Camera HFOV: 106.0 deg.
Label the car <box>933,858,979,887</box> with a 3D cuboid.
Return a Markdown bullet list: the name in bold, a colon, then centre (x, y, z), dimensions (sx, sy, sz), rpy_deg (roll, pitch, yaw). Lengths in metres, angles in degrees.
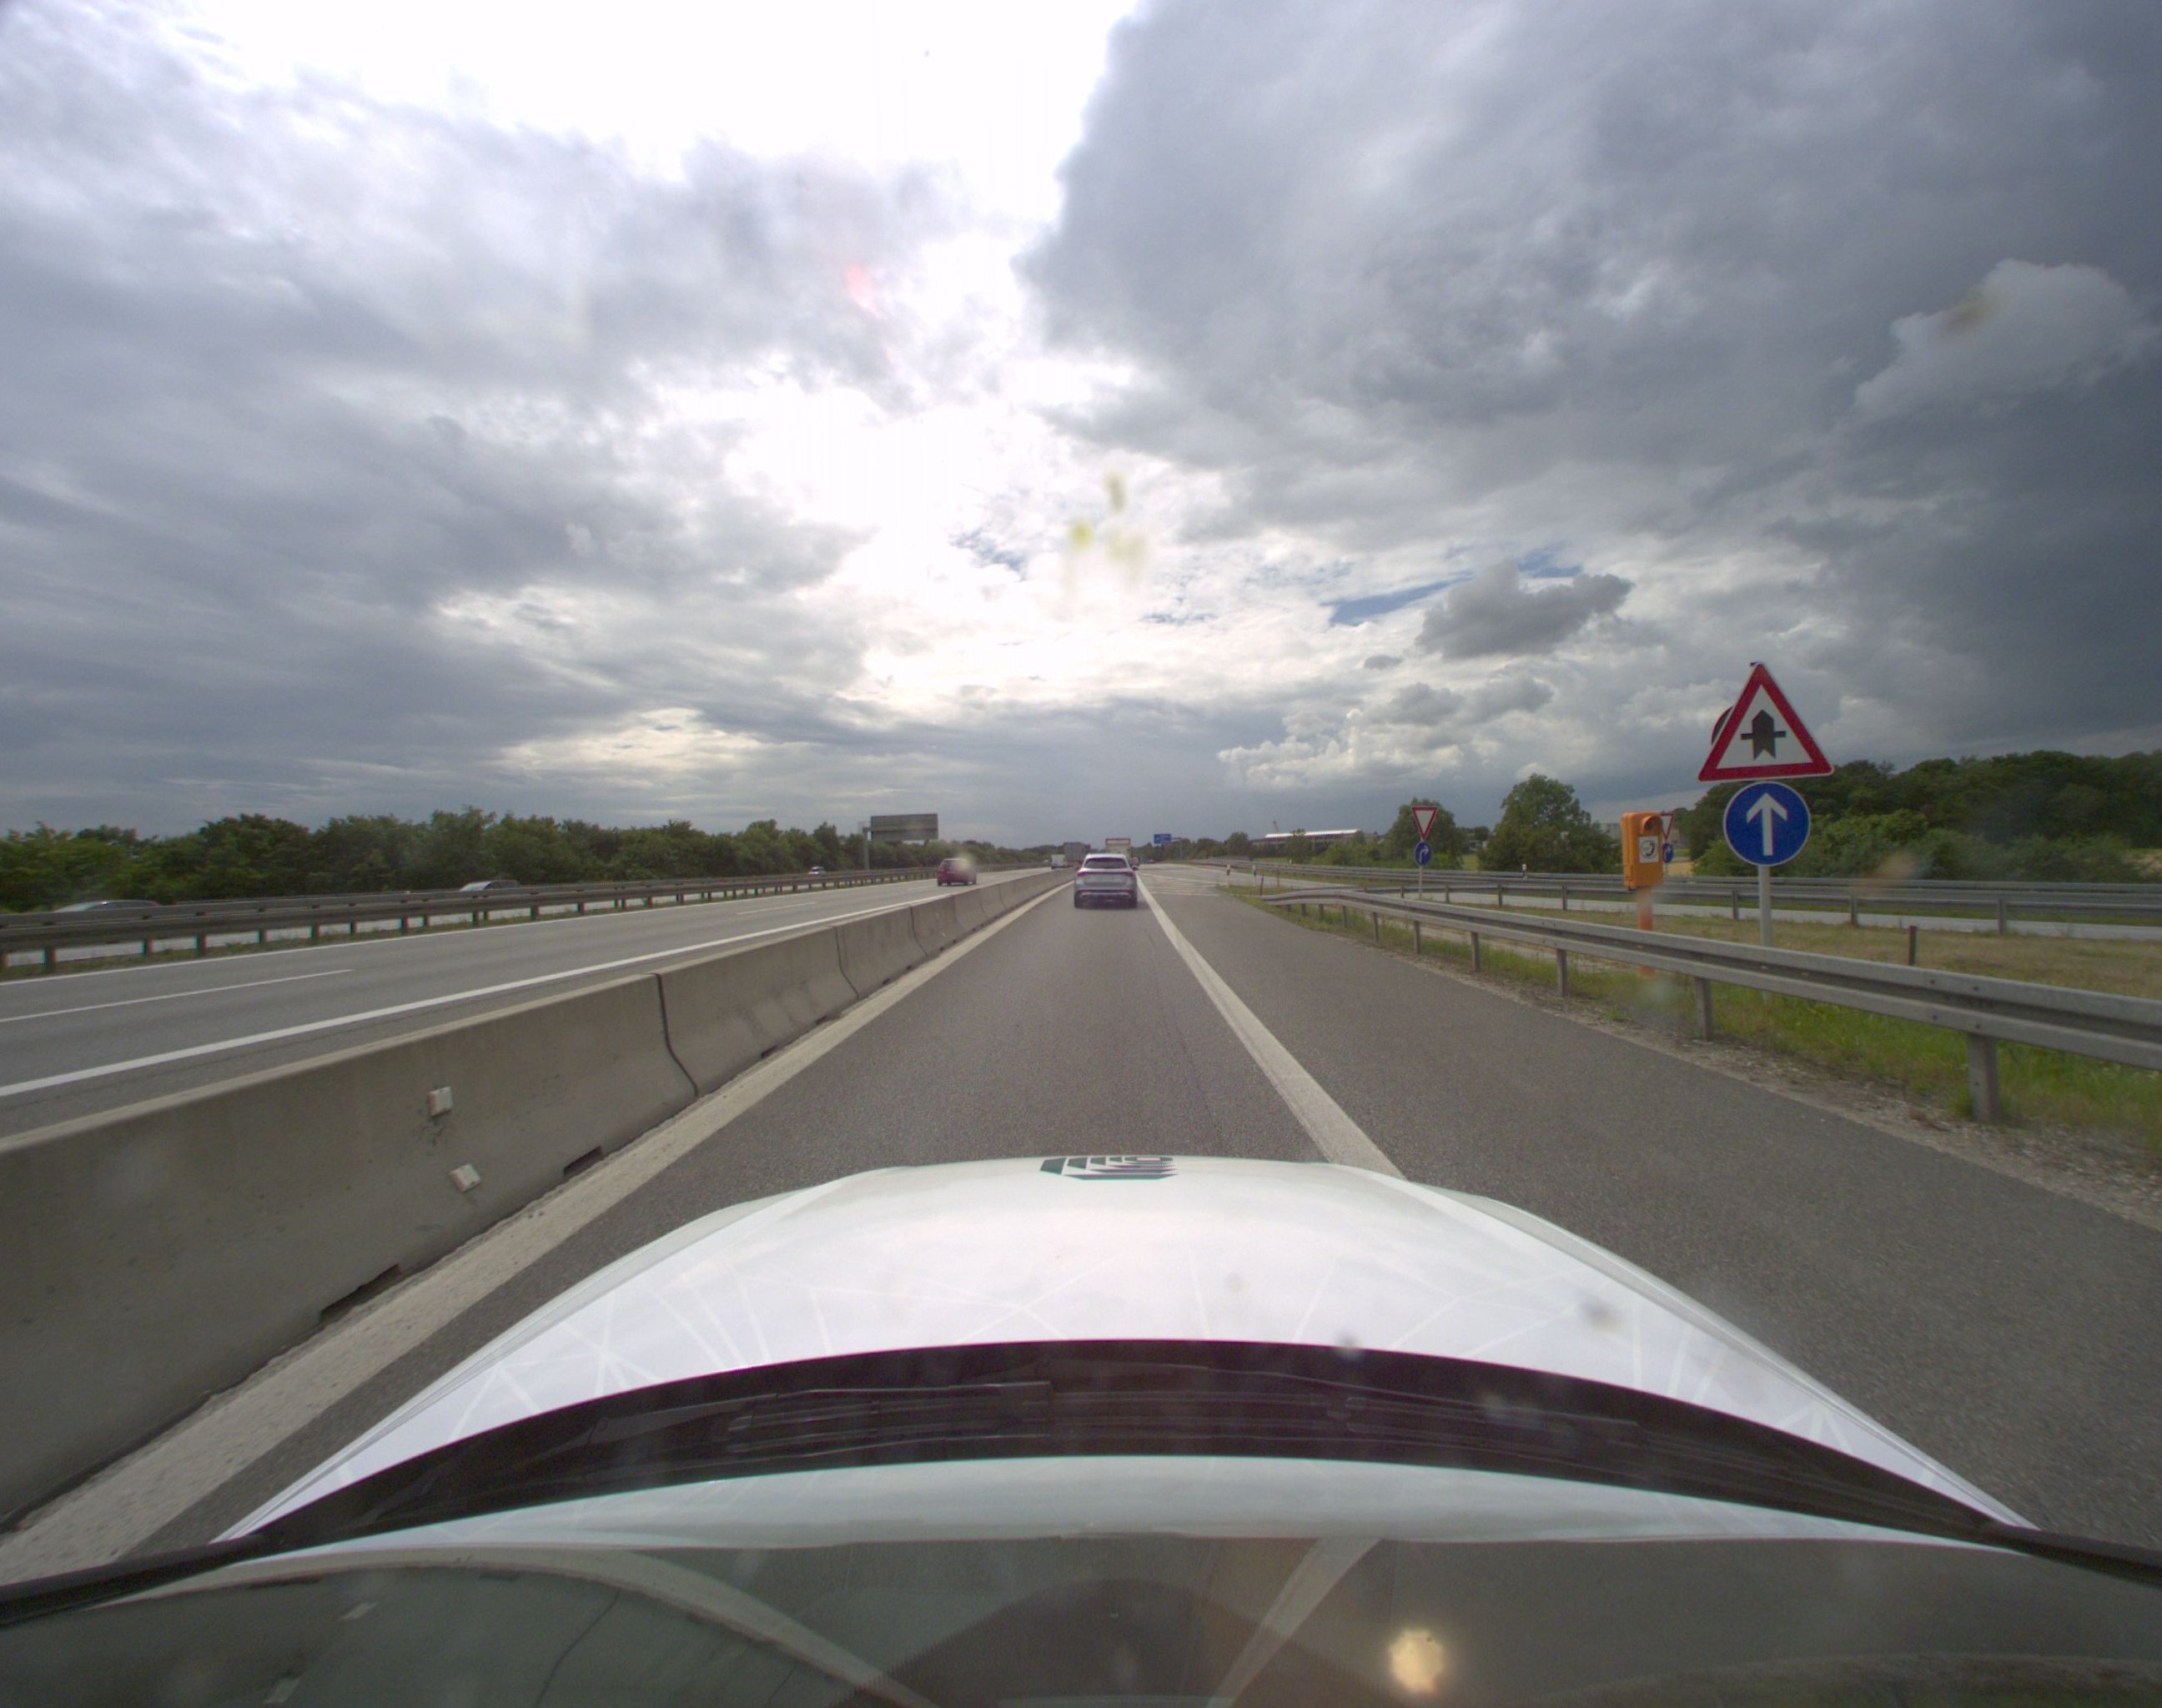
- **car**: centre (-7.275, 1.048, 47.790), dimensions (1.812, 1.545, 4.358), rpy_deg (-1, 1, 2)

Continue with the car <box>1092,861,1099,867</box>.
- **car**: centre (3.616, 2.462, 203.831), dimensions (1.688, 1.288, 4.005), rpy_deg (-1, 0, 4)

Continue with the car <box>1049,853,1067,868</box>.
- **car**: centre (-3.130, 0.858, 110.519), dimensions (1.985, 2.013, 4.379), rpy_deg (-1, 1, 4)

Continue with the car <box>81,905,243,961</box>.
- **car**: centre (-35.732, 3.008, 31.830), dimensions (1.682, 1.727, 4.002), rpy_deg (-1, 1, 2)

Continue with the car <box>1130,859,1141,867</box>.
- **car**: centre (8.727, 1.390, 130.954), dimensions (1.688, 1.288, 4.005), rpy_deg (-1, 0, 4)

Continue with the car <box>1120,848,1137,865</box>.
- **car**: centre (5.782, 0.263, 99.387), dimensions (1.985, 2.013, 4.005), rpy_deg (-1, 1, 4)

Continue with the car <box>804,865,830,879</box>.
- **car**: centre (-30.934, 2.053, 95.549), dimensions (1.634, 1.540, 4.003), rpy_deg (-1, 0, 3)

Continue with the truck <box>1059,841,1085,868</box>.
- **truck**: centre (-1.353, -0.068, 132.269), dimensions (3.170, 4.018, 16.088), rpy_deg (-1, 1, 3)

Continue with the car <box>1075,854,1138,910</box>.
- **car**: centre (0.802, 0.793, 25.327), dimensions (1.812, 1.514, 4.002), rpy_deg (-1, 1, 2)

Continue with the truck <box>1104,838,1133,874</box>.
- **truck**: centre (3.476, 0.194, 76.298), dimensions (2.559, 3.126, 8.638), rpy_deg (-1, 0, 2)

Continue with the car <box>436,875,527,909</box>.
- **car**: centre (-34.011, 2.109, 46.354), dimensions (1.984, 1.721, 4.006), rpy_deg (-1, 0, 5)
